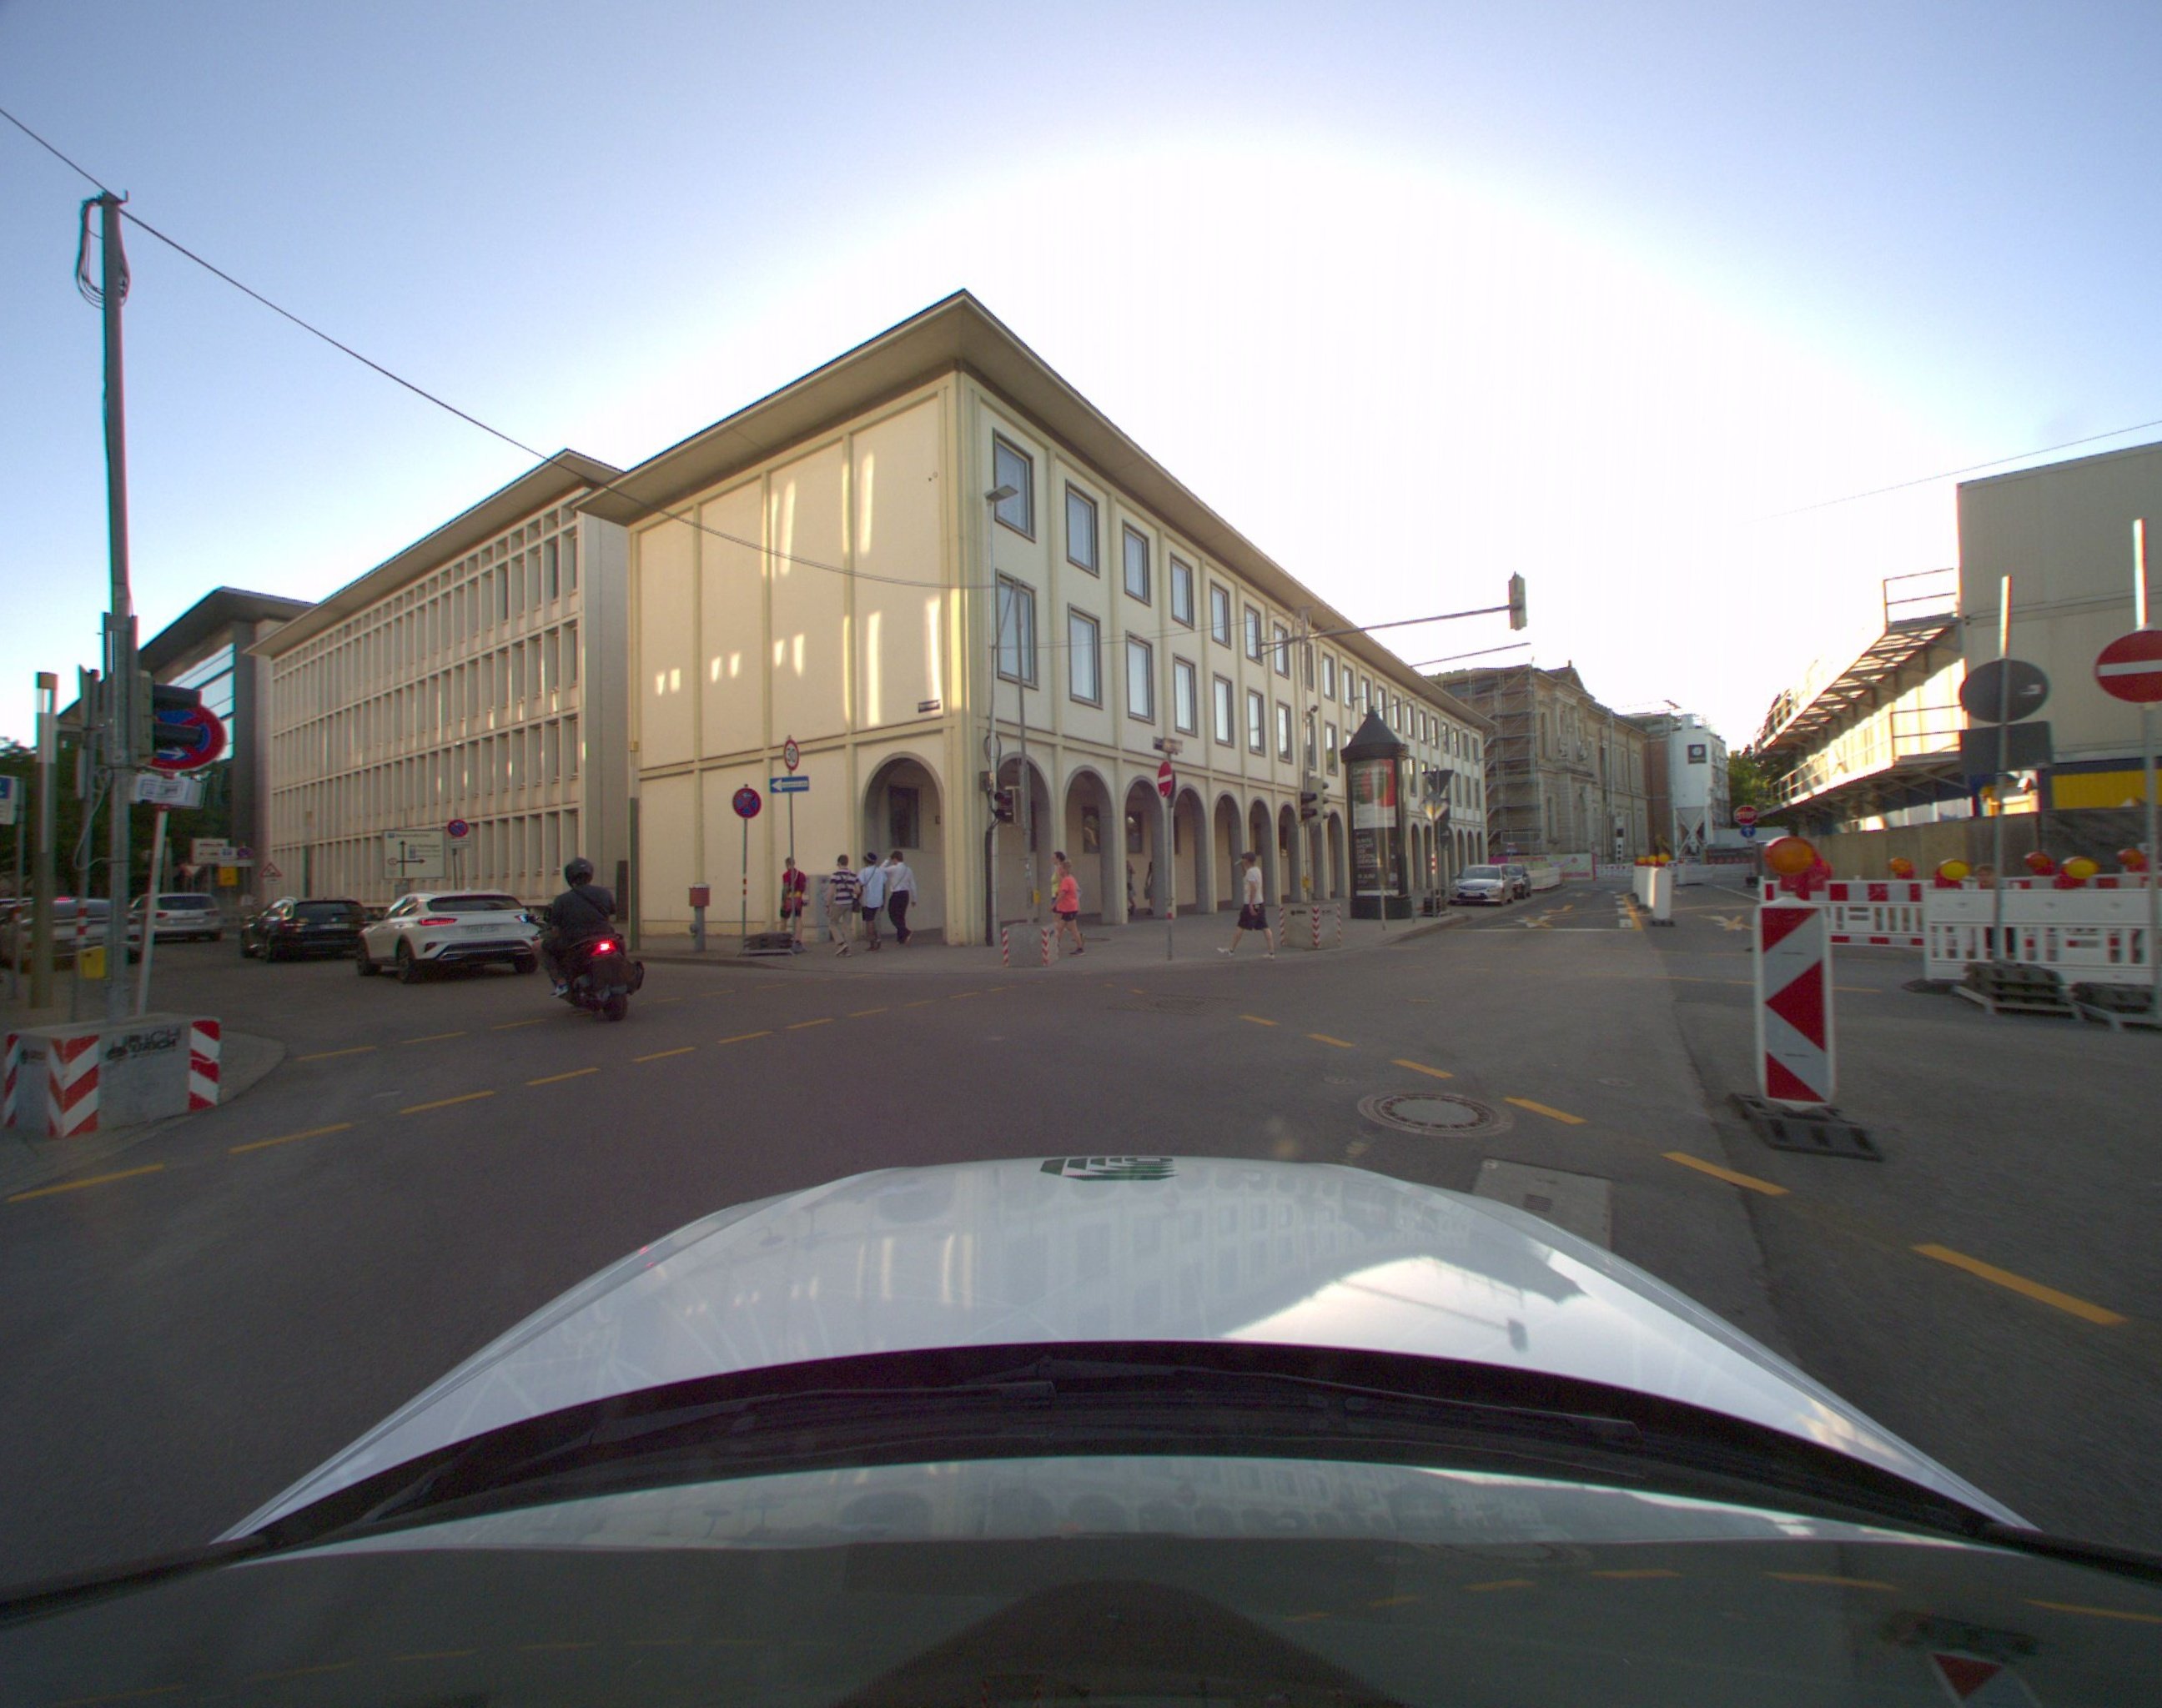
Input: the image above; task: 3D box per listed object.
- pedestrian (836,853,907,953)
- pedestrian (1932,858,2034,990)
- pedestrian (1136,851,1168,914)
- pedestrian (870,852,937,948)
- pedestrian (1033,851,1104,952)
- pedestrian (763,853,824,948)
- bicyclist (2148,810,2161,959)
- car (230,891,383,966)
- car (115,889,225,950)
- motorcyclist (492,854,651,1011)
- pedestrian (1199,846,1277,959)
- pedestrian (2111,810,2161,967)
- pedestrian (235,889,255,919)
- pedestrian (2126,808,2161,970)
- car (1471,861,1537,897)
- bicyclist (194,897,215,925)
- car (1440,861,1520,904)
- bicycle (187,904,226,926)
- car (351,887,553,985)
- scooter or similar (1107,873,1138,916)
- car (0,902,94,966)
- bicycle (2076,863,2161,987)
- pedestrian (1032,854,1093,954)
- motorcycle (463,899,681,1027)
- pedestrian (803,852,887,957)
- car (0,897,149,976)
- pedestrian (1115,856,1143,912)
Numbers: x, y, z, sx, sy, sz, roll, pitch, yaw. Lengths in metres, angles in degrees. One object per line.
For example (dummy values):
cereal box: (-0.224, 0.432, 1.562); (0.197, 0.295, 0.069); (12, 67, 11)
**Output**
pedestrian: (-3.900, 0.897, 15.170); (0.929, 1.777, 0.716); (-3, 1, 33)
pedestrian: (9.370, 0.699, 8.482); (0.612, 1.300, 0.497); (0, 1, 35)
pedestrian: (2.127, 0.844, 24.294); (0.634, 1.840, 0.731); (-2, 1, 26)
pedestrian: (-3.450, 0.875, 15.847); (0.929, 1.777, 0.716); (-3, 1, 33)
pedestrian: (-0.214, 0.826, 14.449); (0.955, 1.709, 0.680); (-2, 1, 33)
pedestrian: (-5.758, 0.921, 16.319); (0.765, 1.801, 0.716); (-3, 1, 33)
bicyclist: (11.131, 0.301, 7.939); (0.695, 1.516, 0.690); (-3, -2, 40)
car: (-18.575, 1.724, 19.495); (4.053, 1.550, 1.791); (-3, -1, 34)
car: (-31.343, 2.209, 28.001); (3.948, 1.857, 1.943); (-3, -1, 33)
motorcyclist: (-5.540, 0.814, 8.872); (1.223, 1.559, 0.963); (-3, -1, 30)
pedestrian: (2.511, 0.748, 13.028); (0.965, 1.728, 0.803); (-2, -1, 33)
pedestrian: (12.613, 0.373, 9.333); (0.730, 1.771, 0.728); (-5, -2, 36)
pedestrian: (-45.431, 2.713, 44.237); (0.612, 1.601, 0.649); (-3, -1, 35)
pedestrian: (11.785, 0.347, 8.566); (0.730, 1.716, 0.626); (-5, -2, 36)
car: (18.343, 1.089, 35.248); (1.906, 1.466, 4.025); (-1, -2, 37)
bicyclist: (-54.659, 3.540, 50.778); (0.753, 1.706, 0.729); (-1, -1, -36)
car: (14.693, 1.024, 29.860); (1.906, 1.466, 4.025); (-1, -2, 37)
bicycle: (-54.568, 3.788, 50.815); (1.575, 1.250, 0.546); (-2, -1, -36)
car: (-11.125, 1.352, 14.323); (3.948, 1.472, 1.877); (-3, -3, 38)
scooter or similar: (1.215, 1.164, 23.623); (0.613, 1.157, 0.963); (-2, 1, 18)
car: (-28.805, 2.144, 22.321); (3.469, 1.527, 1.828); (-3, 0, 33)
bicycle: (11.184, 0.682, 7.814); (1.973, 1.201, 0.480); (-2, -2, 39)
pedestrian: (-0.312, 0.828, 13.778); (0.717, 1.624, 0.624); (-2, 1, 33)
motorcycle: (-5.603, 1.135, 8.910); (2.545, 1.183, 0.914); (-3, -1, 30)
pedestrian: (-4.281, 0.904, 14.752); (1.231, 1.801, 0.721); (-3, 1, 33)
car: (-24.239, 1.909, 19.557); (4.212, 1.606, 1.828); (-3, 0, 33)
pedestrian: (1.447, 0.894, 24.431); (0.613, 1.624, 0.730); (-2, 1, 18)
